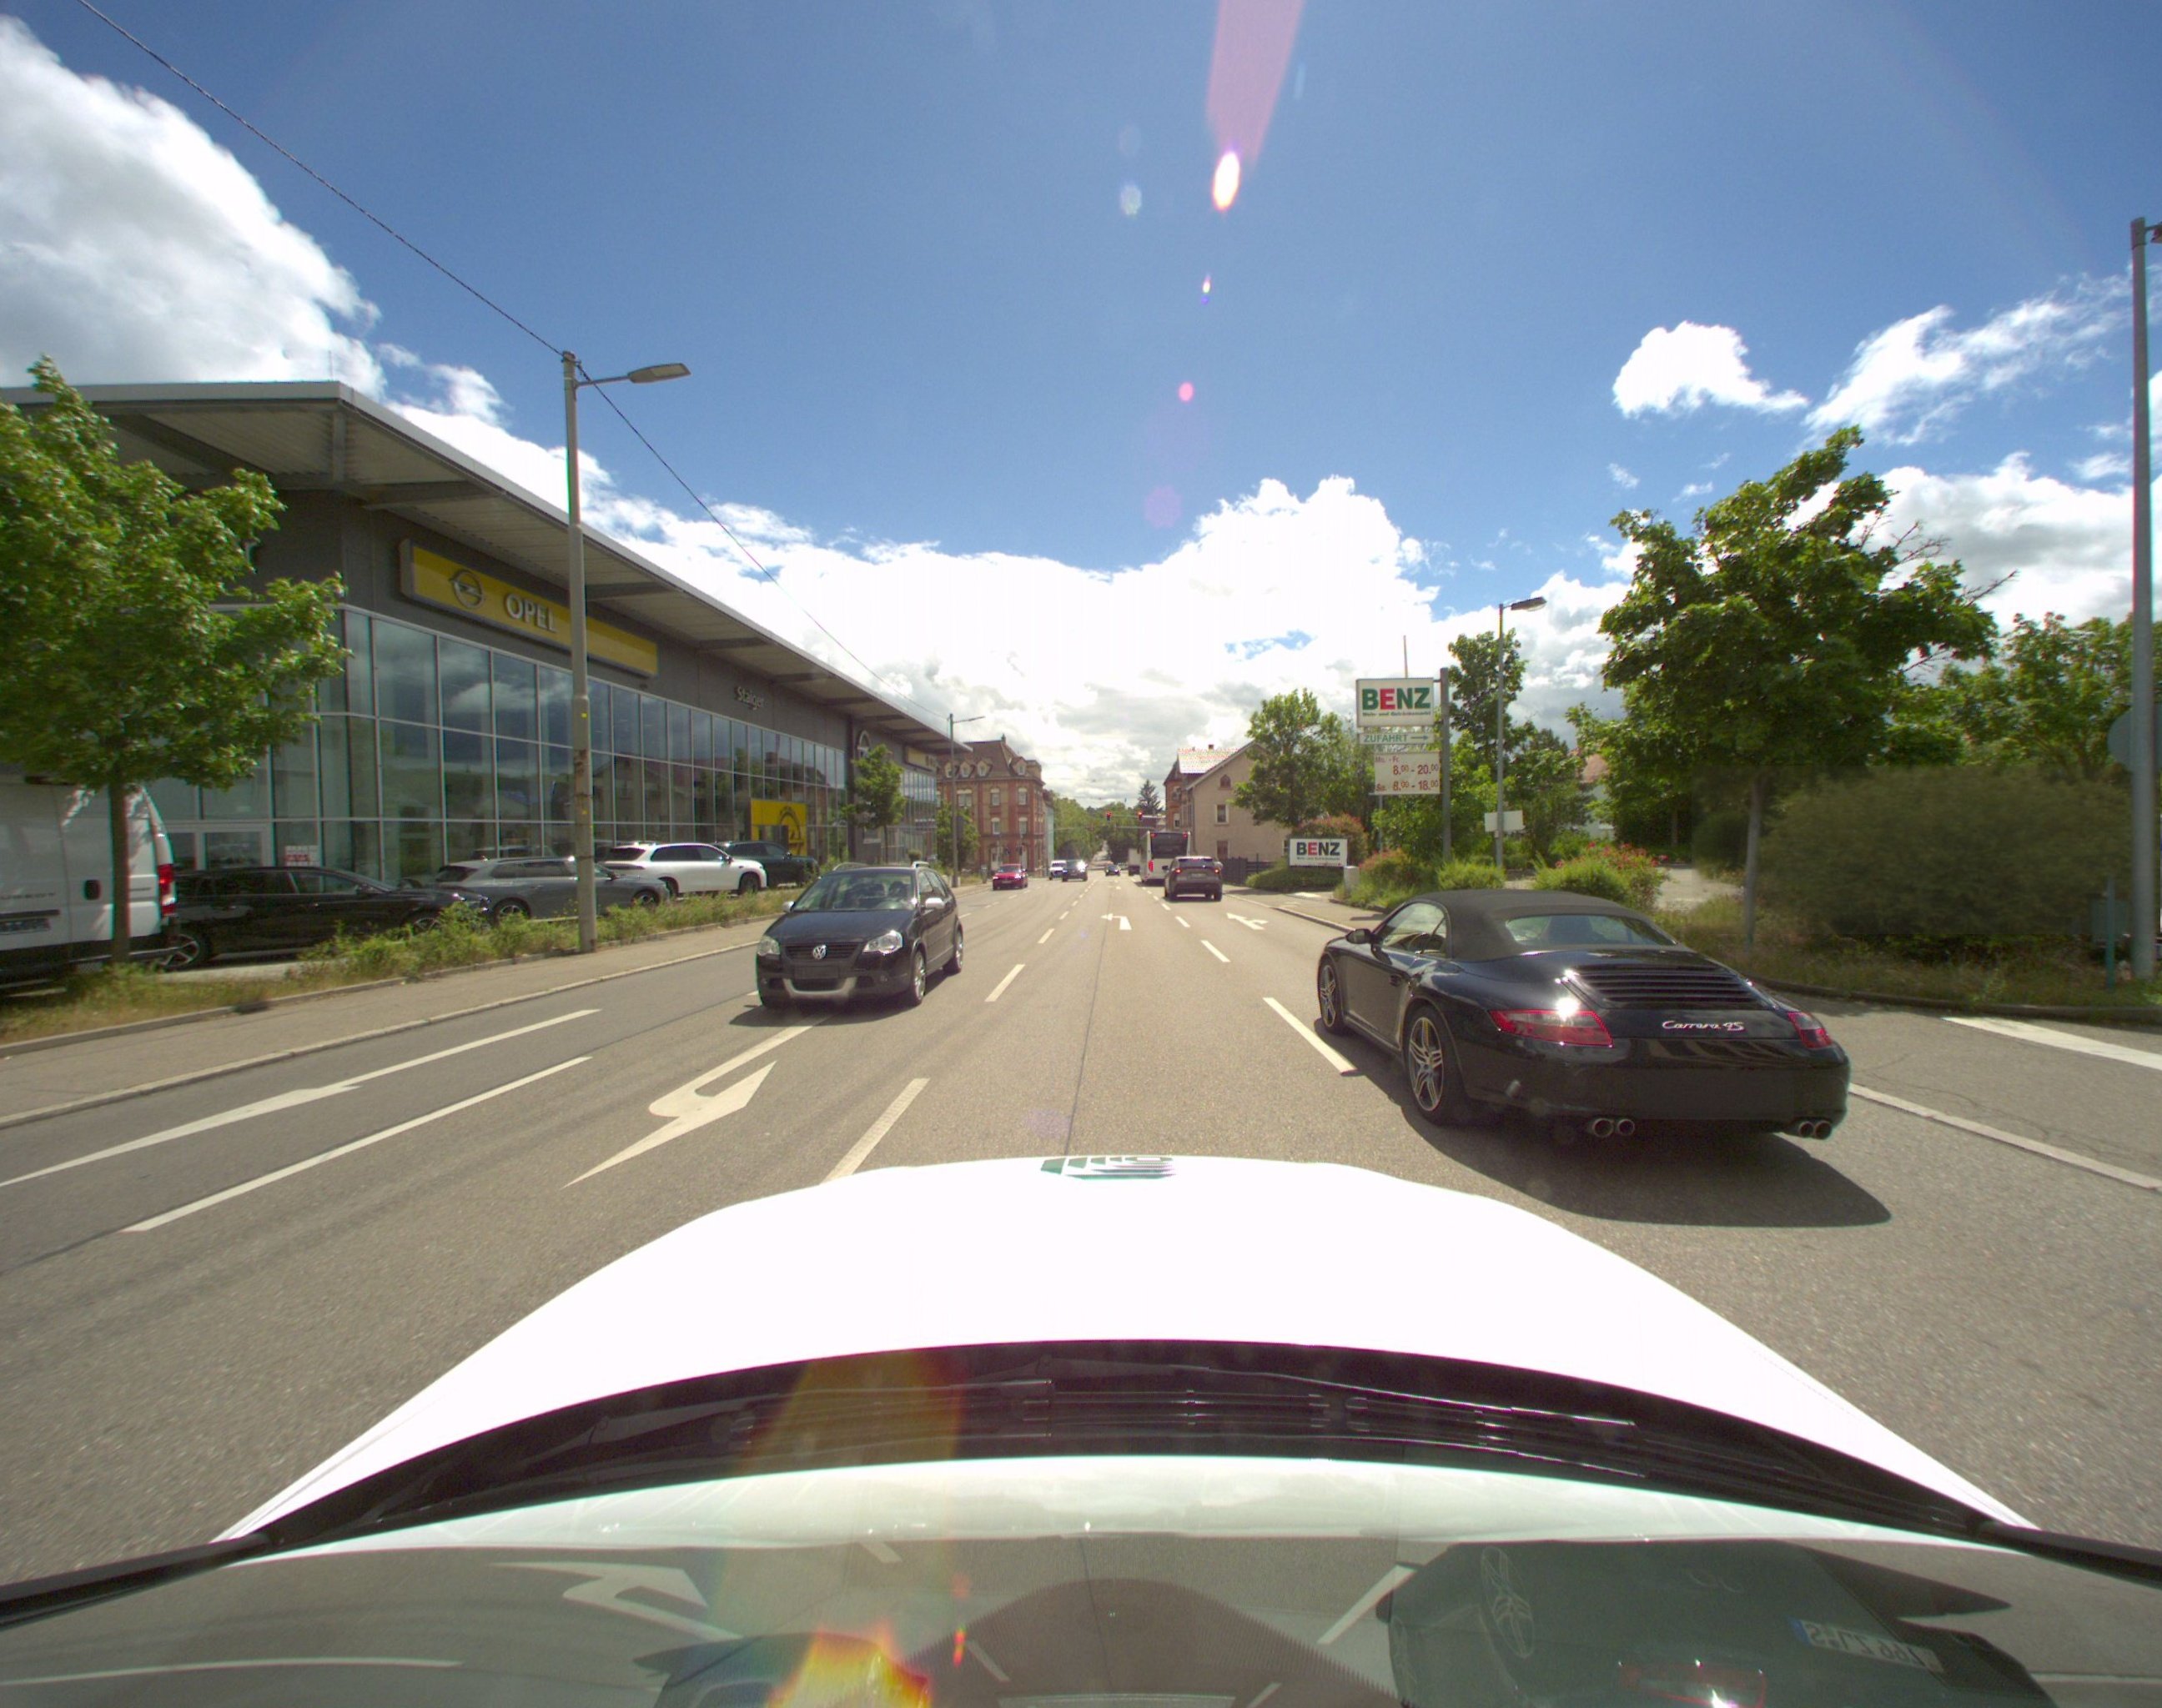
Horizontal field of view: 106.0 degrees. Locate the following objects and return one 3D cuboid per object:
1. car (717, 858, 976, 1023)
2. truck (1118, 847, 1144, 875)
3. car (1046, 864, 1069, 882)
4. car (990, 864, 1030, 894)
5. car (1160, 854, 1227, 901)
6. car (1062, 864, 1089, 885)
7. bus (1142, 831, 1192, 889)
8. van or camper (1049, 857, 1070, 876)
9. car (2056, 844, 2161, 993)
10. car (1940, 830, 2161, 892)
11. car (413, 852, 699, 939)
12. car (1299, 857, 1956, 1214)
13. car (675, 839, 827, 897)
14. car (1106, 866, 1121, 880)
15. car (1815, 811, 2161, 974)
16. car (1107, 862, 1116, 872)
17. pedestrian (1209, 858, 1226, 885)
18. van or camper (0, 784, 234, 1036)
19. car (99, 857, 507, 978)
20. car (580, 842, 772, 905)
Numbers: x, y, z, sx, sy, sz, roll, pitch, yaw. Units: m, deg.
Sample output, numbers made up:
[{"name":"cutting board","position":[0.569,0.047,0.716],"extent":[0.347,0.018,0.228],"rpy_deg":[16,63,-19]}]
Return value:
[{"name":"car","position":[-2.538,0.844,9.989],"extent":[1.823,1.509,4.277],"rpy_deg":[-2,0,1]},{"name":"truck","position":[5.983,0.845,98.816],"extent":[2.658,3.108,9.035],"rpy_deg":[-2,0,1]},{"name":"car","position":[-2.092,1.720,74.657],"extent":[1.857,1.540,4.107],"rpy_deg":[-1,0,1]},{"name":"car","position":[-4.075,1.415,47.022],"extent":[1.865,1.491,3.848],"rpy_deg":[-4,0,0]},{"name":"car","position":[4.106,0.871,30.283],"extent":[1.924,1.583,4.207],"rpy_deg":[-1,-1,0]},{"name":"car","position":[-0.402,1.531,62.176],"extent":[1.857,1.540,4.108],"rpy_deg":[-1,0,2]},{"name":"bus","position":[5.395,0.186,52.874],"extent":[2.789,3.197,12.211],"rpy_deg":[-1,2,4]},{"name":"van or camper","position":[-2.321,1.333,88.475],"extent":[1.963,1.914,5.130],"rpy_deg":[-1,0,2]},{"name":"car","position":[13.156,0.573,8.104],"extent":[4.416,1.481,2.001],"rpy_deg":[-2,-1,1]},{"name":"car","position":[24.313,0.150,20.295],"extent":[3.859,1.369,1.888],"rpy_deg":[-2,1,-1]},{"name":"car","position":[-11.140,0.773,17.725],"extent":[1.877,1.450,4.863],"rpy_deg":[0,2,30]},{"name":"car","position":[2.949,0.818,5.679],"extent":[1.922,1.376,4.212],"rpy_deg":[-1,2,3]},{"name":"car","position":[-11.061,0.412,27.652],"extent":[1.975,1.698,4.513],"rpy_deg":[0,2,28]},{"name":"car","position":[4.098,2.415,104.270],"extent":[1.857,1.666,4.261],"rpy_deg":[-1,0,2]},{"name":"car","position":[13.059,0.409,10.938],"extent":[4.700,1.848,2.085],"rpy_deg":[-3,0,-5]},{"name":"car","position":[6.367,2.688,170.028],"extent":[1.826,1.881,4.001],"rpy_deg":[-2,1,1]},{"name":"pedestrian","position":[8.162,1.027,48.693],"extent":[0.810,1.581,1.070],"rpy_deg":[-3,-1,2]},{"name":"van or camper","position":[-13.312,0.568,9.191],"extent":[5.008,2.530,2.319],"rpy_deg":[-1,2,1]},{"name":"car","position":[-12.166,0.884,13.217],"extent":[4.499,1.509,1.920],"rpy_deg":[-2,0,-40]},{"name":"car","position":[-11.141,0.486,22.804],"extent":[1.913,1.573,4.580],"rpy_deg":[-1,0,26]}]
